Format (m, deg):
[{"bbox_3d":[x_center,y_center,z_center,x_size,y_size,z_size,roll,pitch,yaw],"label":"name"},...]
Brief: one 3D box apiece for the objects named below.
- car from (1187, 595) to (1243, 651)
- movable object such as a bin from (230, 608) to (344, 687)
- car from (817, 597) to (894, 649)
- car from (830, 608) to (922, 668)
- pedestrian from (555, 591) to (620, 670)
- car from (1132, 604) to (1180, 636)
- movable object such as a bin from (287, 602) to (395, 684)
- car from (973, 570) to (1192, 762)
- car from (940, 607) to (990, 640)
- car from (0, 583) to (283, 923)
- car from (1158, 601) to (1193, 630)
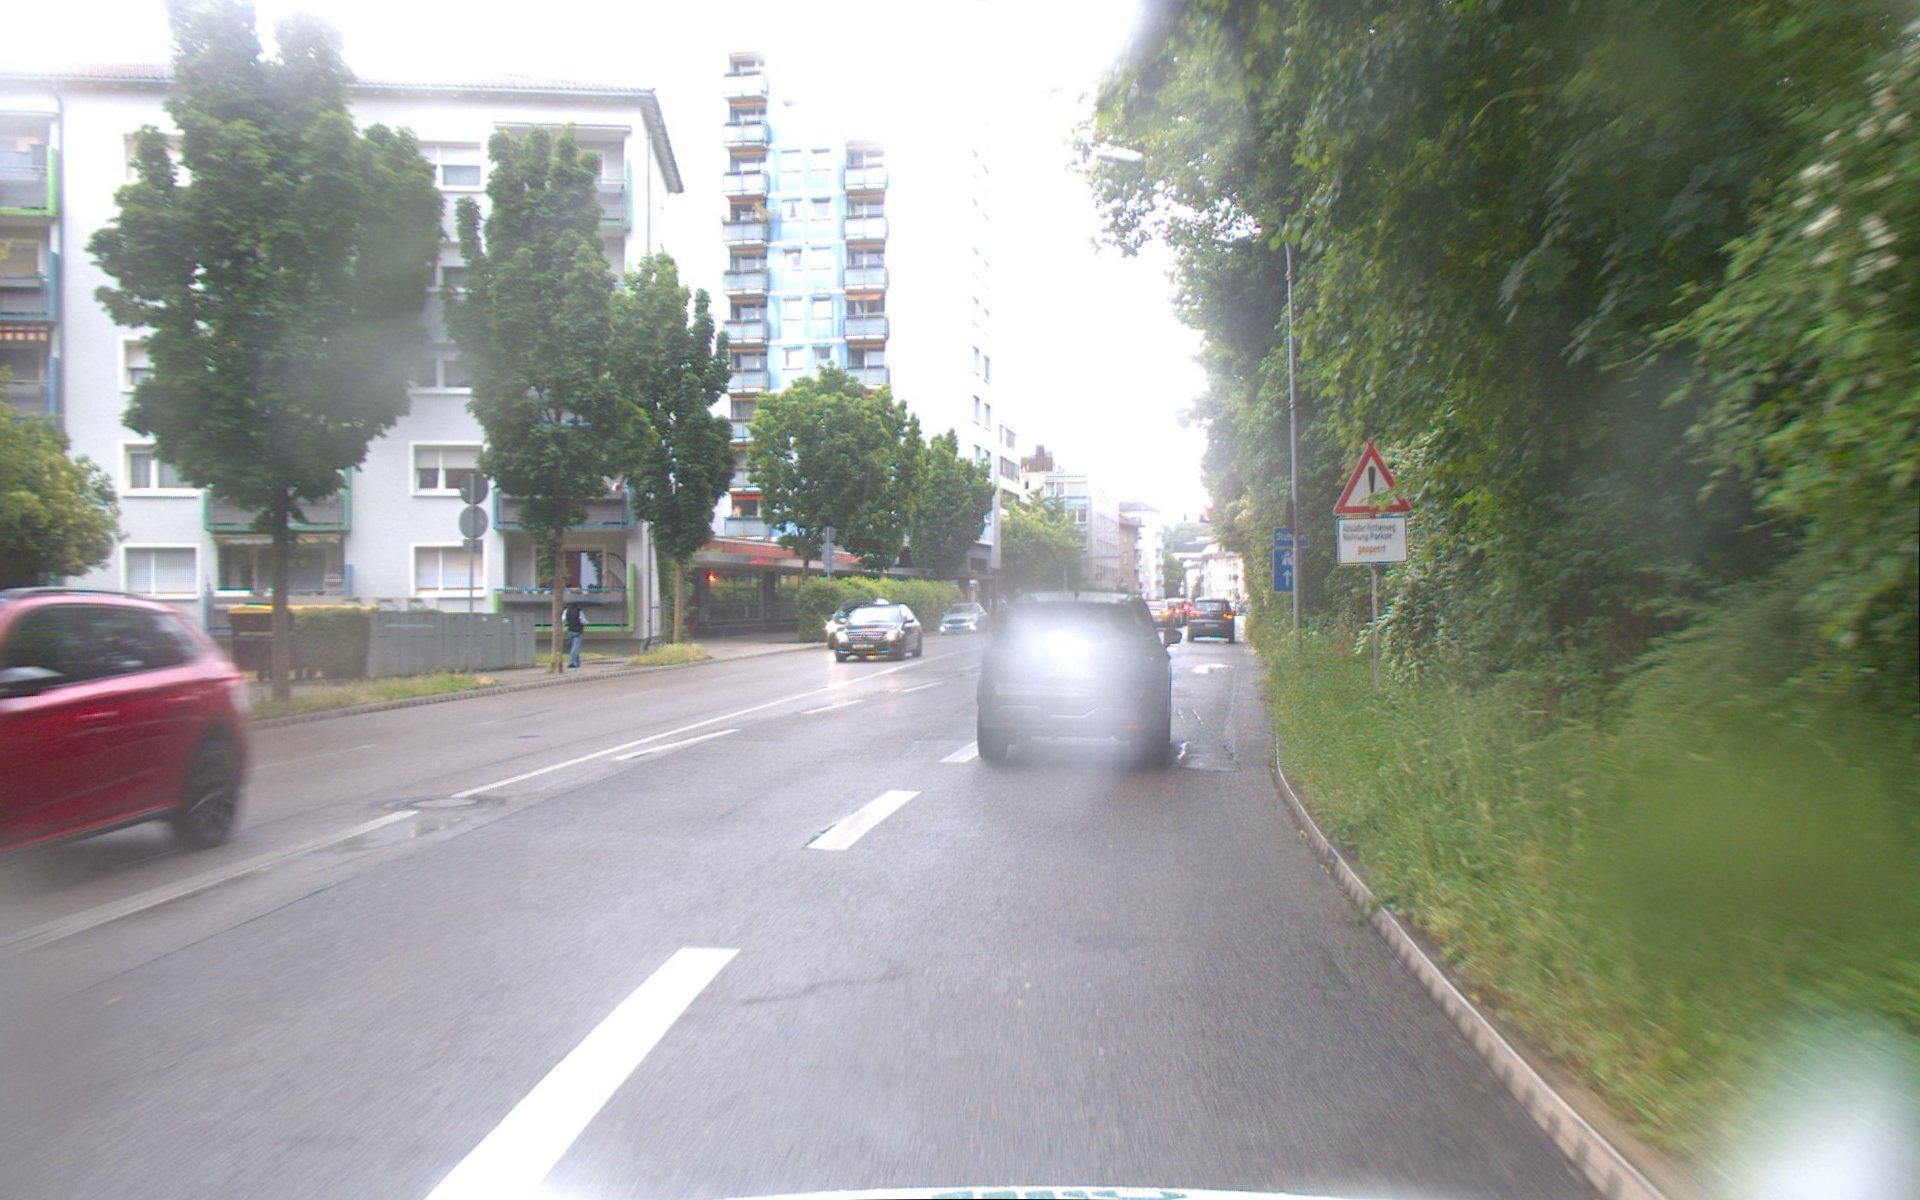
[{"bbox_3d":[9.746,0.866,62.971,1.951,2.049,4.003,-1,0,11],"label":"car"},{"bbox_3d":[-12.097,0.834,29.815,1.133,1.355,1.967,-1,0,4],"label":"movable object such as a bin"},{"bbox_3d":[-3.504,0.762,56.097,1.834,1.630,4.467,-2,0,6],"label":"car"},{"bbox_3d":[-2.136,0.947,43.172,1.802,1.409,4.362,-2,0,4],"label":"car"},{"bbox_3d":[-8.753,0.708,38.913,1.110,1.835,1.264,-1,0,6],"label":"pedestrian"},{"bbox_3d":[9.626,0.951,81.067,2.022,1.490,4.590,0,0,10],"label":"car"},{"bbox_3d":[-11.943,0.809,31.989,1.189,1.510,2.088,-1,0,4],"label":"movable object such as a bin"},{"bbox_3d":[1.320,0.584,16.666,1.918,1.681,4.003,-1,0,7],"label":"car"},{"bbox_3d":[0.268,1.064,77.028,1.834,1.415,4.630,-2,0,6],"label":"car"},{"bbox_3d":[-5.267,0.711,8.597,1.641,1.590,4.143,0,0,2],"label":"car"},{"bbox_3d":[11.770,0.850,90.223,1.706,1.513,4.165,-1,-1,10],"label":"car"}]
